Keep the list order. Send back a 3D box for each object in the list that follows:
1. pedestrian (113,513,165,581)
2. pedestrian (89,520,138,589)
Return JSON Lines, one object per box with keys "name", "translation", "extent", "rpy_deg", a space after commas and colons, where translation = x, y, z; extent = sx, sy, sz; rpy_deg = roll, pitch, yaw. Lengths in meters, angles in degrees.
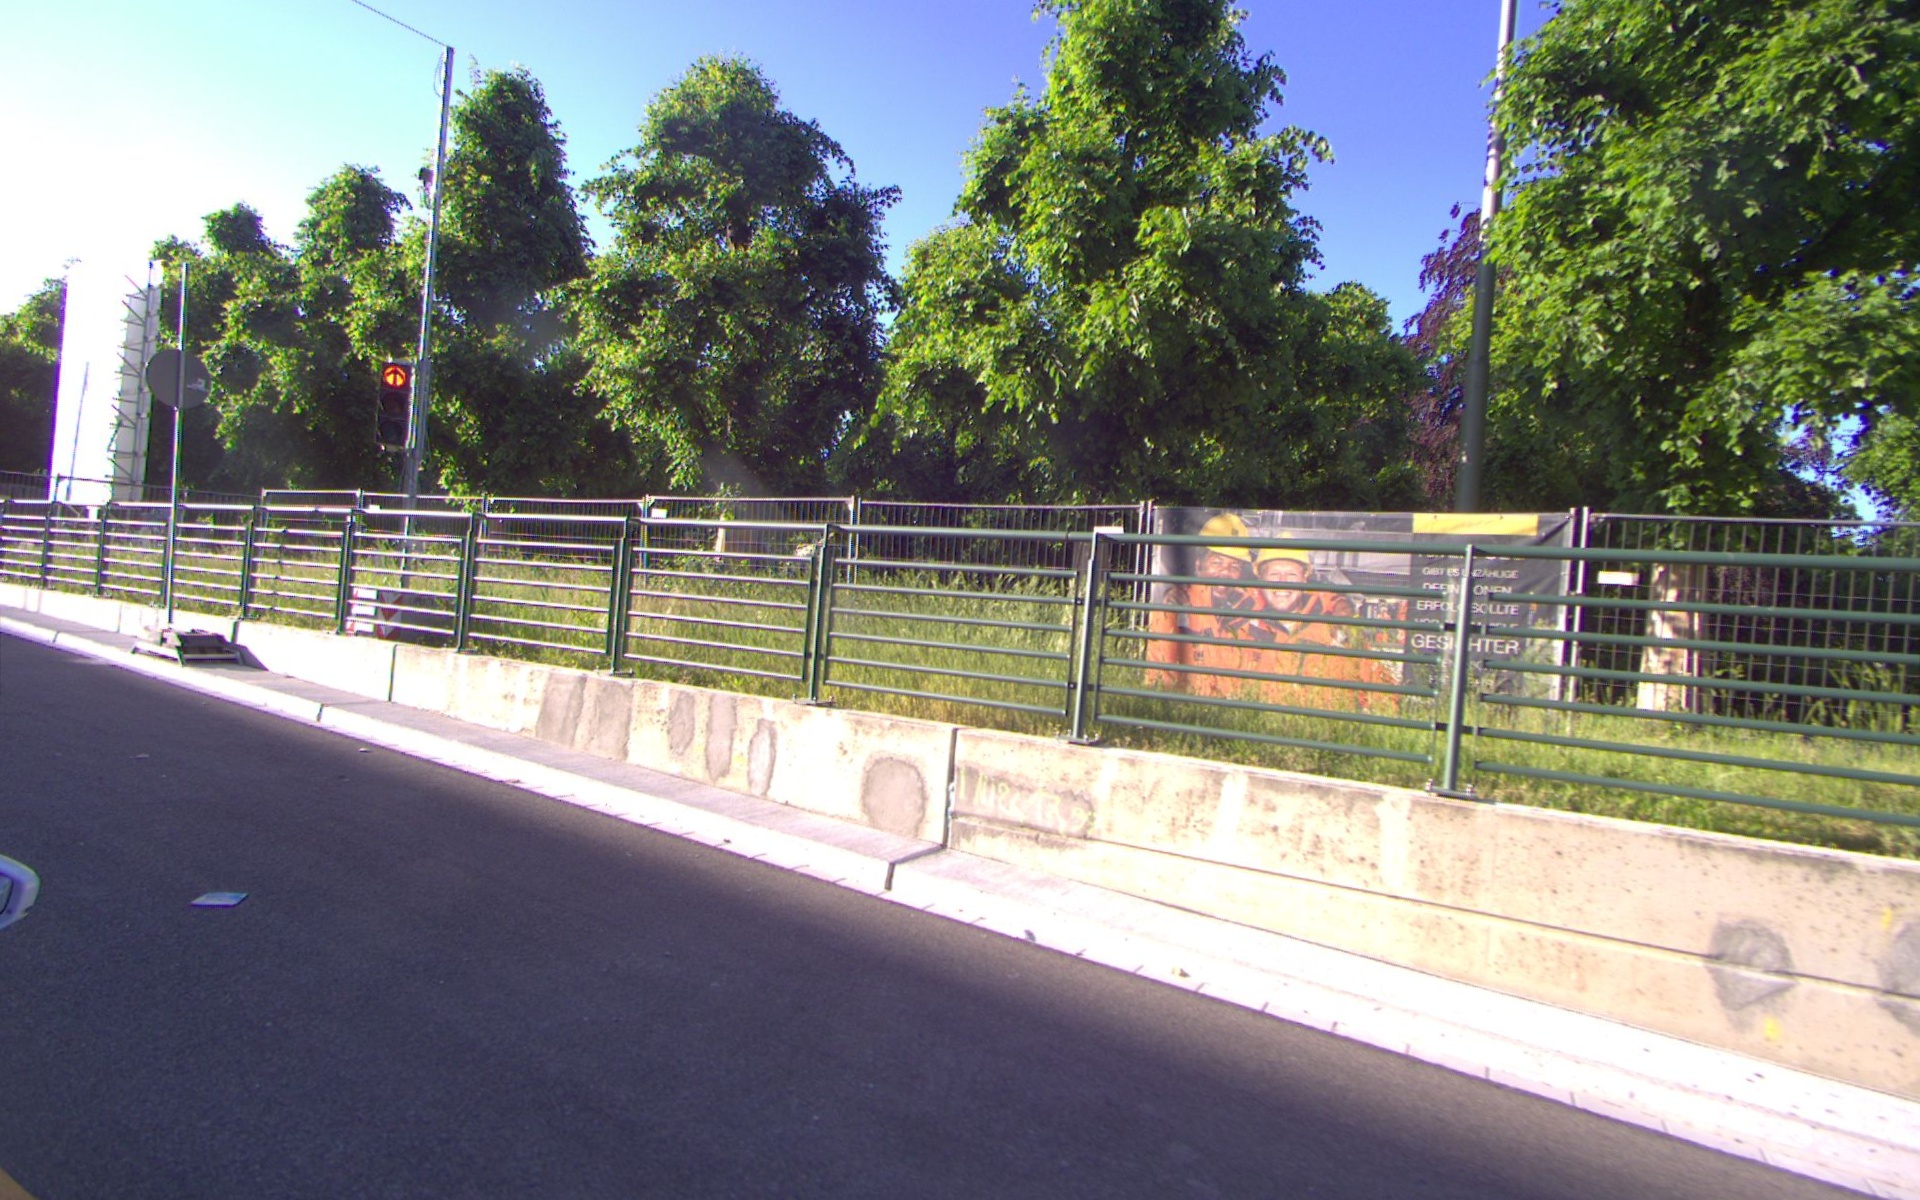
{"name": "pedestrian", "translation": [-20.344, -1.296, 24.946], "extent": [0.655, 1.586, 0.743], "rpy_deg": [5, 1, -14]}
{"name": "pedestrian", "translation": [-21.005, -1.133, 24.960], "extent": [0.634, 1.624, 0.736], "rpy_deg": [6, 1, 36]}
